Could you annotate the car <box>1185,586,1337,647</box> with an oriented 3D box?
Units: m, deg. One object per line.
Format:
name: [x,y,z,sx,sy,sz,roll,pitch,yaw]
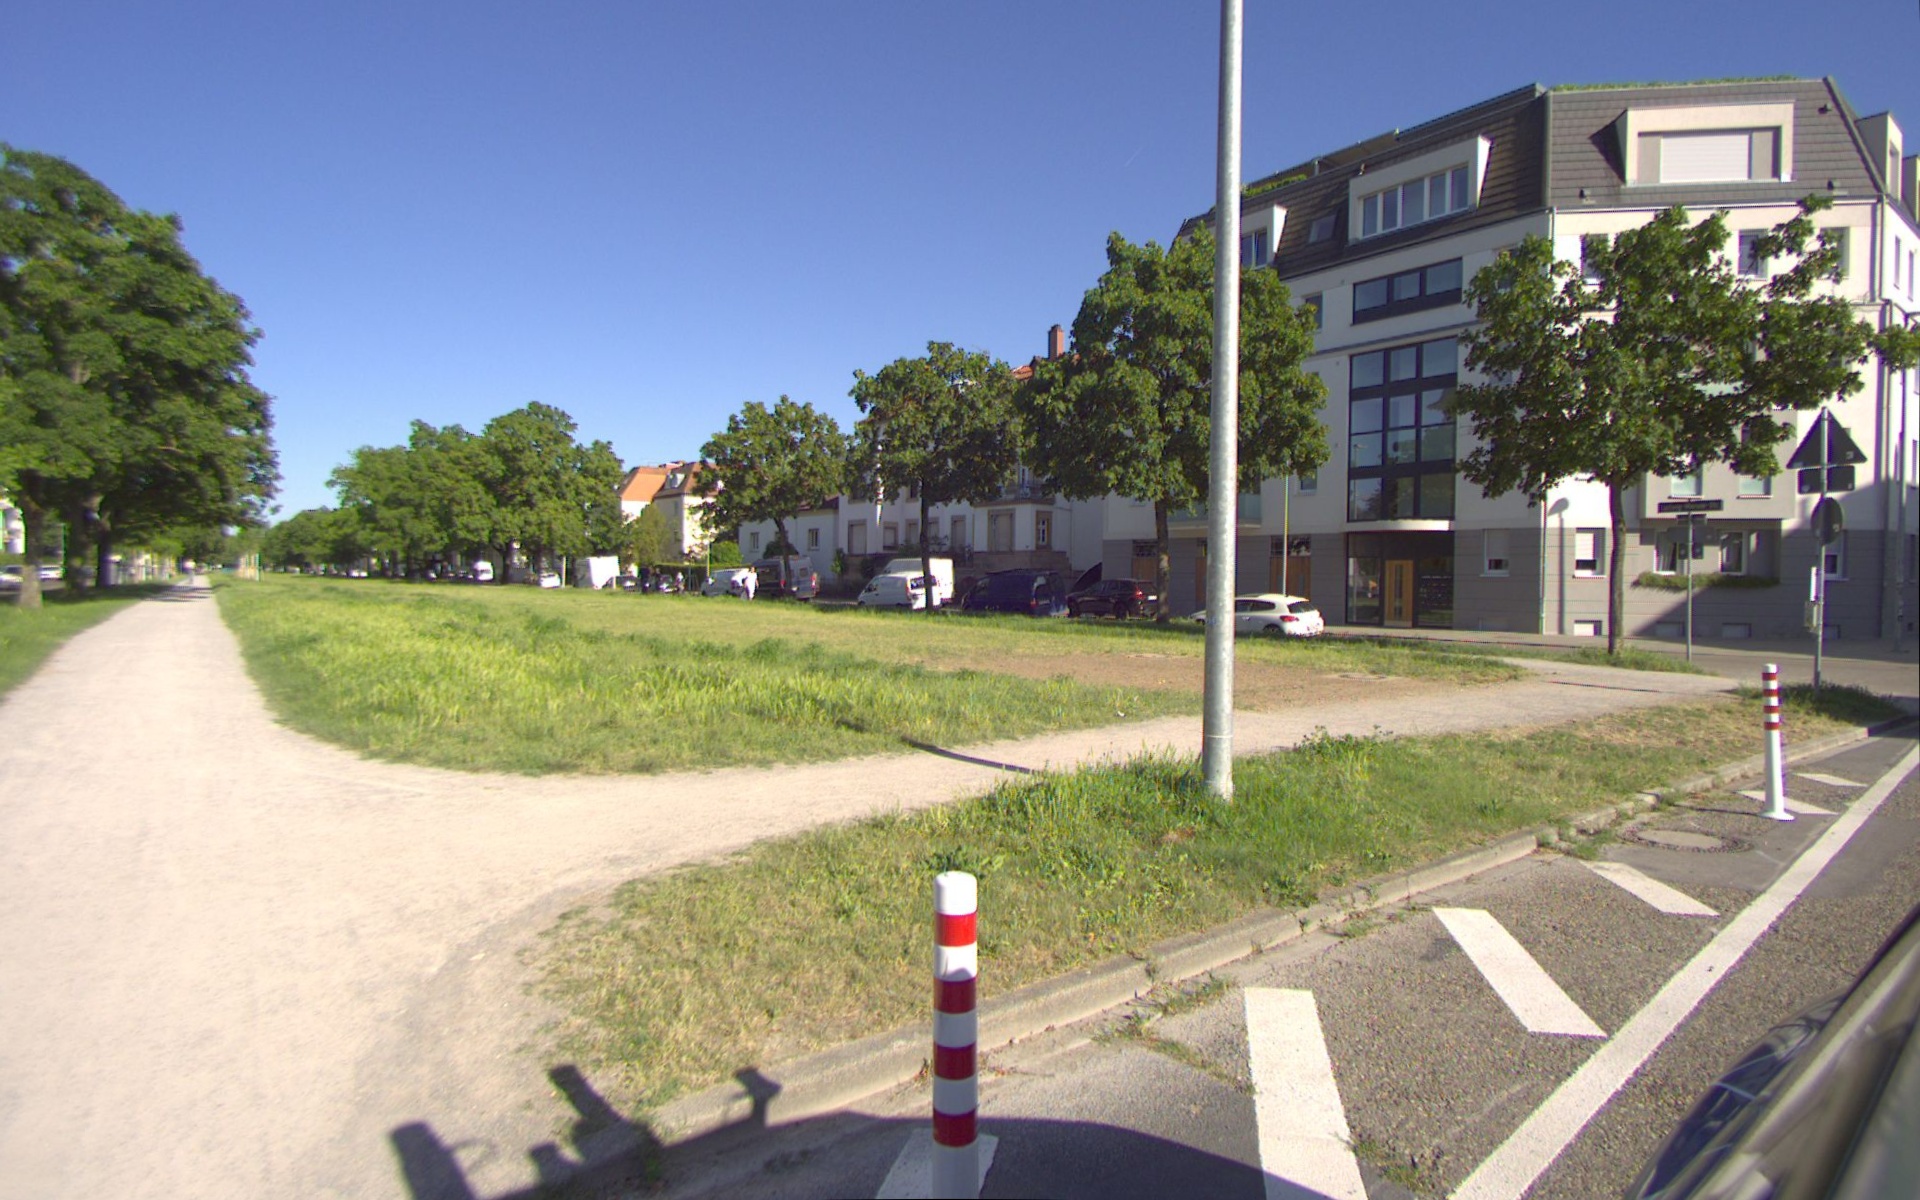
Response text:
car: [8.671,0.407,29.394,1.709,1.450,3.993,-5,5,-37]

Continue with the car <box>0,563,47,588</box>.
car: [-54.813,-1.458,59.230,1.690,1.358,3.808,0,2,-37]

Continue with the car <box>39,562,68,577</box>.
car: [-86.931,-2.933,97.066,1.690,1.358,3.808,0,2,-37]

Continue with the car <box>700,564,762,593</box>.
car: [-13.479,-1.274,59.464,2.046,1.618,4.288,0,2,-36]

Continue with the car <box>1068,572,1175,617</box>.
car: [6.604,-0.272,41.784,1.861,1.703,4.289,-2,3,-36]

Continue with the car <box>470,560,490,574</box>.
car: [-66.312,-4.517,139.825,1.831,1.868,3.994,0,2,-36]

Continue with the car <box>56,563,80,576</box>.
car: [-96.632,-3.271,109.657,1.690,1.358,3.808,0,2,-37]

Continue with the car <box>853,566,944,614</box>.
car: [-2.762,-0.498,44.452,1.842,1.906,4.424,-5,5,-36]

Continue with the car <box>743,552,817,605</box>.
car: [-9.621,-1.202,53.851,2.153,2.615,4.288,-5,5,-36]

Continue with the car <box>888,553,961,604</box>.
car: [-1.922,-1.170,53.366,1.985,2.580,3.994,-2,3,-36]

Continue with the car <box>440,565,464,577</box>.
car: [-64.649,-3.711,128.731,2.042,1.484,4.728,0,2,-36]

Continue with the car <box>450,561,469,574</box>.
car: [-74.365,-4.833,150.286,1.831,1.868,3.994,0,2,-36]

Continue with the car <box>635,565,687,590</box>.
car: [-20.256,-1.517,68.381,2.046,1.618,4.288,0,2,-36]

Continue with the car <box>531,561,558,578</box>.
car: [-46.024,-3.390,112.117,1.831,1.868,3.994,0,2,-36]

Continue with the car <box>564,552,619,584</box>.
car: [-28.975,-2.519,79.453,2.503,2.363,5.920,0,2,-36]

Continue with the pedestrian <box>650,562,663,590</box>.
pedestrian: [-16.500,-1.315,54.985,0.487,1.524,0.535,0,1,-37]

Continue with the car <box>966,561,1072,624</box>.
car: [2.156,-0.345,37.834,1.752,2.108,3.994,-5,5,-36]

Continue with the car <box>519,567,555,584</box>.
car: [-38.371,-2.242,91.743,2.042,1.484,4.728,0,2,-36]

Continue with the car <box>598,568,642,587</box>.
car: [-24.956,-1.667,74.166,1.898,1.361,4.110,0,2,-36]

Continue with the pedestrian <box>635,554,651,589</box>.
pedestrian: [-17.124,-1.536,54.748,0.632,1.900,0.629,0,1,-38]

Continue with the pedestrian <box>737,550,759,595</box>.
pedestrian: [-9.055,-1.179,43.188,0.711,1.900,0.629,0,1,-38]
